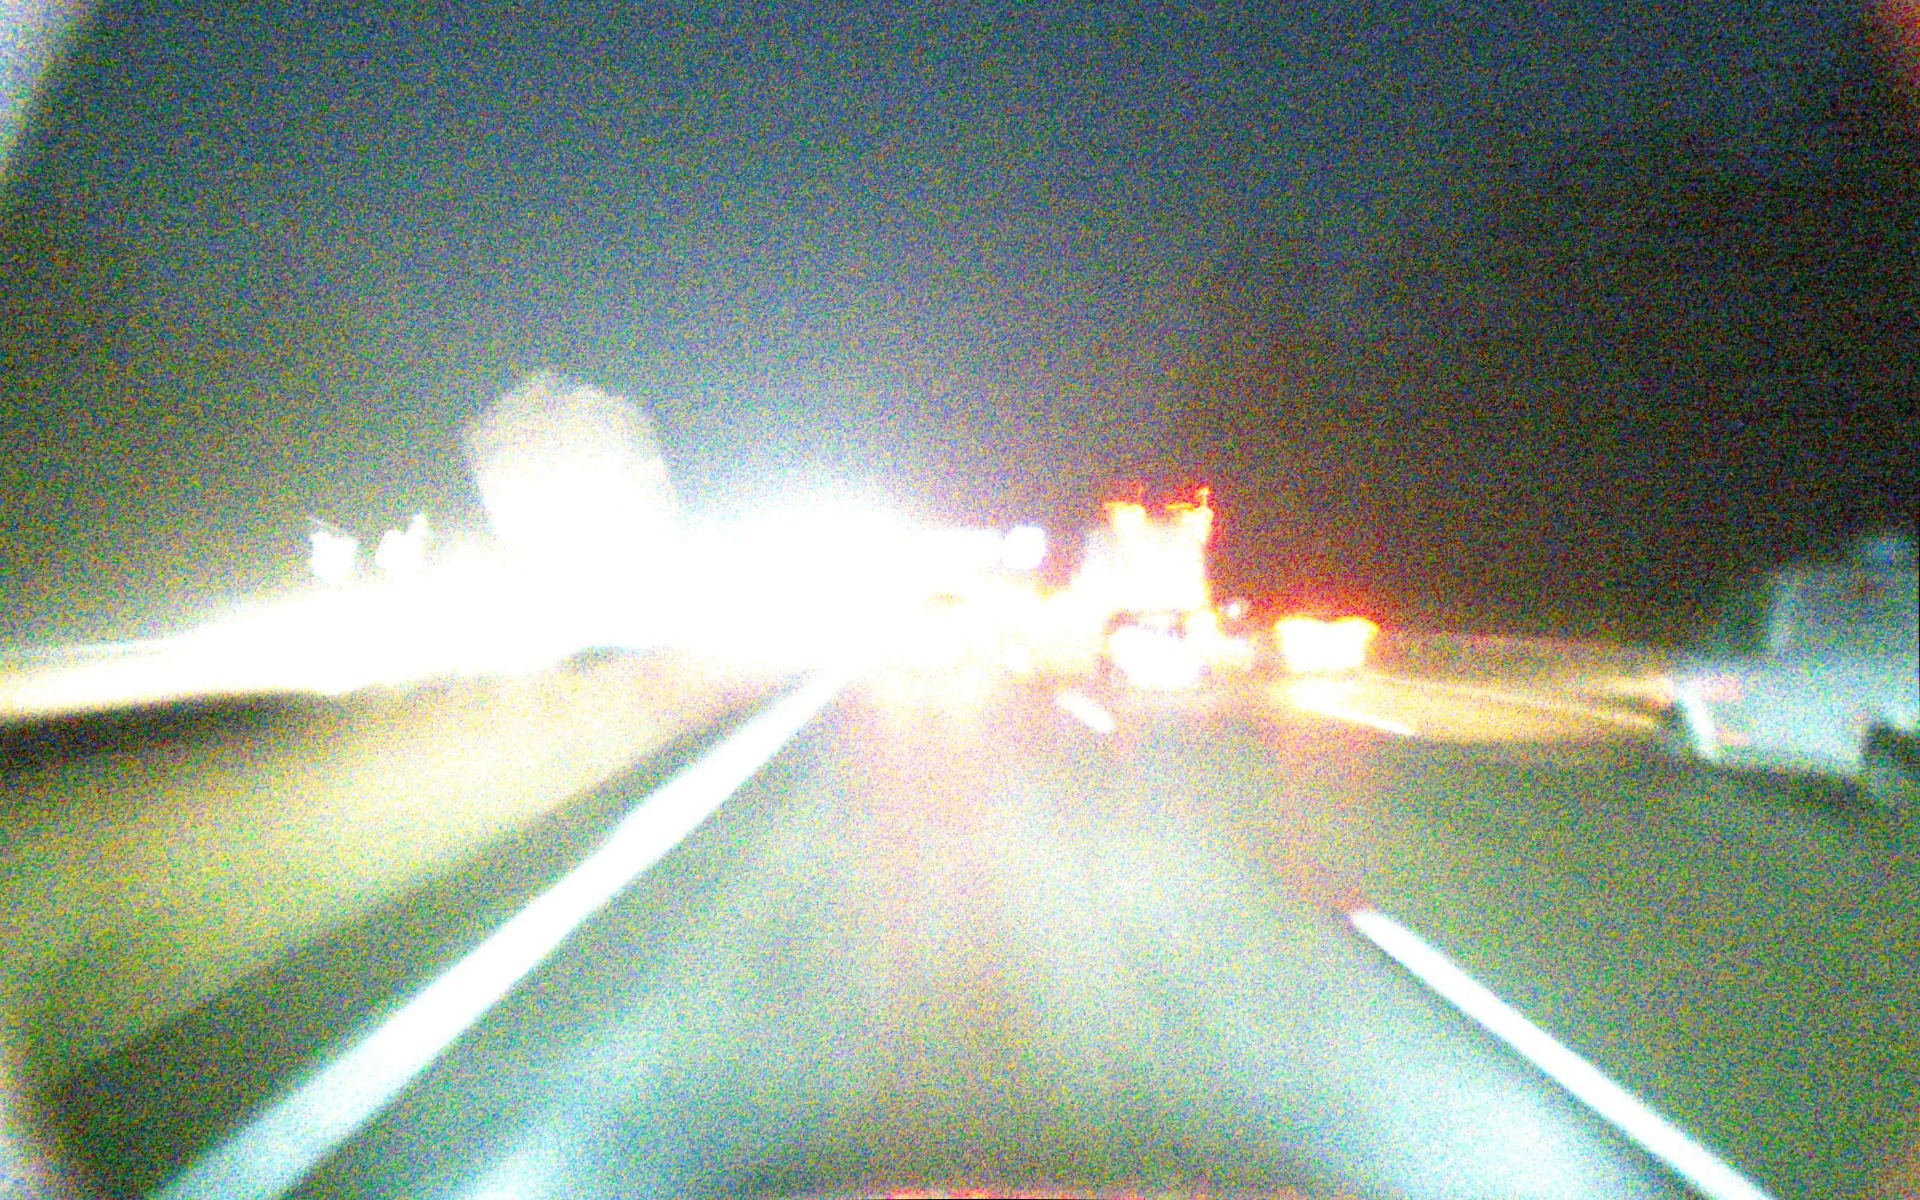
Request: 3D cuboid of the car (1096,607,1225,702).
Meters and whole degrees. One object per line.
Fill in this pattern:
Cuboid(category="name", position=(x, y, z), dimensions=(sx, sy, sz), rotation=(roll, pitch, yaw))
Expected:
Cuboid(category="car", position=(3.291, 0.861, 27.739), dimensions=(1.580, 1.437, 3.790), rotation=(1, 0, -2))

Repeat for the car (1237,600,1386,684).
Cuboid(category="car", position=(7.171, 0.809, 34.276), dimensions=(1.856, 1.512, 4.960), rotation=(1, 1, -2))

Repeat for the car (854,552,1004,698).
Cuboid(category="car", position=(-0.677, 0.424, 33.043), dimensions=(2.655, 2.578, 5.828), rotation=(-2, 1, -2))

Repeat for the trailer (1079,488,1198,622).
Cuboid(category="trailer", position=(6.204, -1.465, 59.468), dimensions=(2.747, 4.286, 12.094), rotation=(1, 0, -1))

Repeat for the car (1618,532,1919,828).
Cuboid(category="car", position=(7.421, 0.492, 13.193), dimensions=(2.005, 2.008, 5.405), rotation=(-2, 1, -2))

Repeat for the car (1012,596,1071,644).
Cuboid(category="car", position=(2.900, 0.681, 59.344), dimensions=(1.846, 1.616, 3.999), rotation=(1, 0, -1))

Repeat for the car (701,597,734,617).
Cuboid(category="car", position=(-17.962, 0.519, 122.816), dimensions=(1.923, 1.368, 4.287), rotation=(0, 1, -2))

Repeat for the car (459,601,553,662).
Cuboid(category="car", position=(-13.209, 0.880, 48.344), dimensions=(1.644, 1.625, 4.347), rotation=(-1, 1, -2))

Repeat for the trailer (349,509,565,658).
Cuboid(category="trailer", position=(-16.799, -0.642, 56.967), dimensions=(2.828, 4.379, 15.716), rotation=(1, 1, -1))

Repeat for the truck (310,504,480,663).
Cuboid(category="truck", position=(-16.722, -0.524, 49.478), dimensions=(2.828, 4.410, 6.745), rotation=(1, 1, -1))
